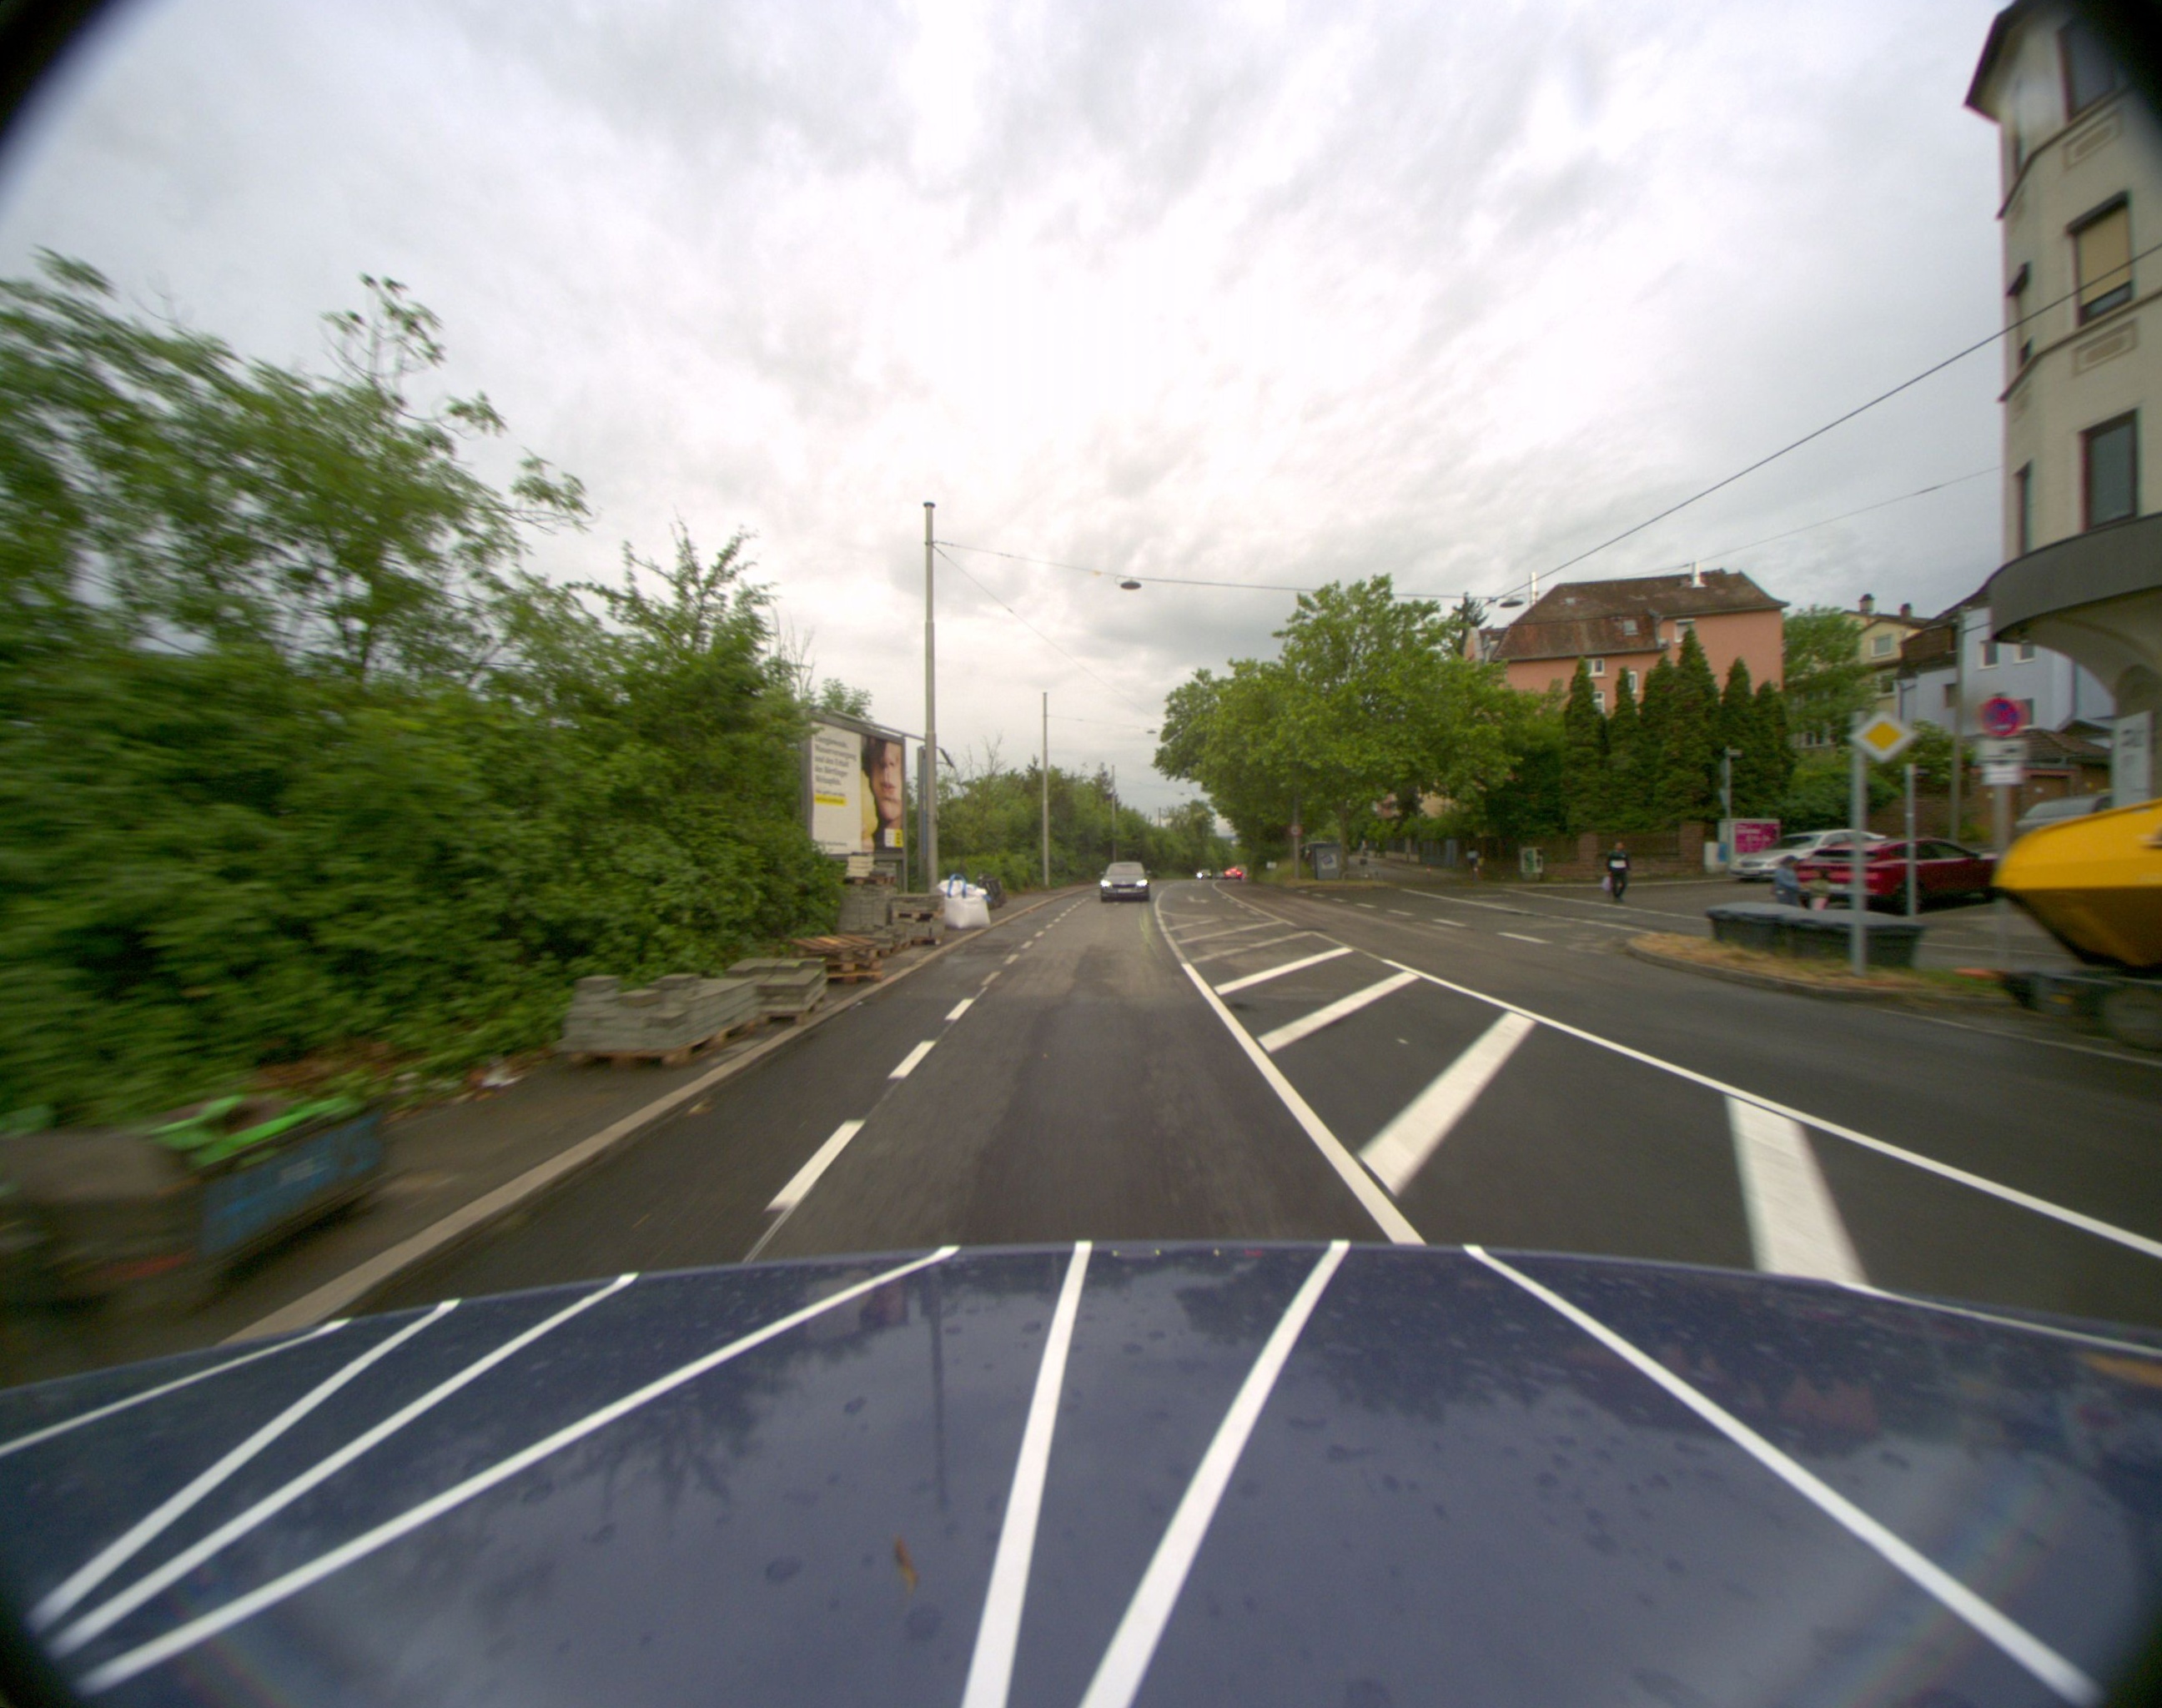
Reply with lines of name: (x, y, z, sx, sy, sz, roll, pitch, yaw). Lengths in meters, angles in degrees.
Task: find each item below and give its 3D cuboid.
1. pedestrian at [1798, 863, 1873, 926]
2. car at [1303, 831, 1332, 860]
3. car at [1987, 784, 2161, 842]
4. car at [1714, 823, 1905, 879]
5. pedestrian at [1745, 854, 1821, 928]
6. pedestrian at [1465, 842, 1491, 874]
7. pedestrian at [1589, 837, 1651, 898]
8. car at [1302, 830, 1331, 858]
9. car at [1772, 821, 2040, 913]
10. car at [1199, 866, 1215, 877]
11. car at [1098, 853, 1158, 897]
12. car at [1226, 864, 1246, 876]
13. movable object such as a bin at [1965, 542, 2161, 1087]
pedestrian: (14.188, 0.753, 14.297, 0.732, 1.117, 0.743, -1, -1, -25)
car: (18.760, -0.630, 60.464, 1.996, 2.001, 4.634, -2, -2, 15)
car: (33.673, -1.376, 25.771, 4.266, 1.377, 1.886, -7, 0, -11)
car: (22.106, -0.083, 23.156, 4.266, 1.377, 1.886, -4, -1, -7)
pedestrian: (13.913, 0.725, 15.073, 0.783, 1.393, 0.806, -1, -1, -22)
pedestrian: (17.506, 0.194, 33.506, 0.792, 1.346, 0.792, -2, -1, 15)
pedestrian: (14.939, 0.373, 21.078, 0.890, 1.620, 0.994, -1, -1, -18)
car: (17.098, -0.679, 55.349, 1.833, 1.832, 4.634, -2, -2, 15)
car: (18.047, 0.267, 16.685, 4.547, 1.564, 1.935, -4, -1, -14)
car: (17.139, 2.385, 103.034, 1.997, 1.433, 4.005, -2, -2, 11)
car: (1.856, 0.810, 28.773, 1.980, 1.496, 4.003, -2, -2, 7)
car: (18.790, 1.946, 91.974, 2.074, 1.344, 4.719, -2, -2, 13)
movable object such as a bin: (8.892, -0.363, 3.443, 2.781, 3.832, 5.990, -2, -2, 3)
